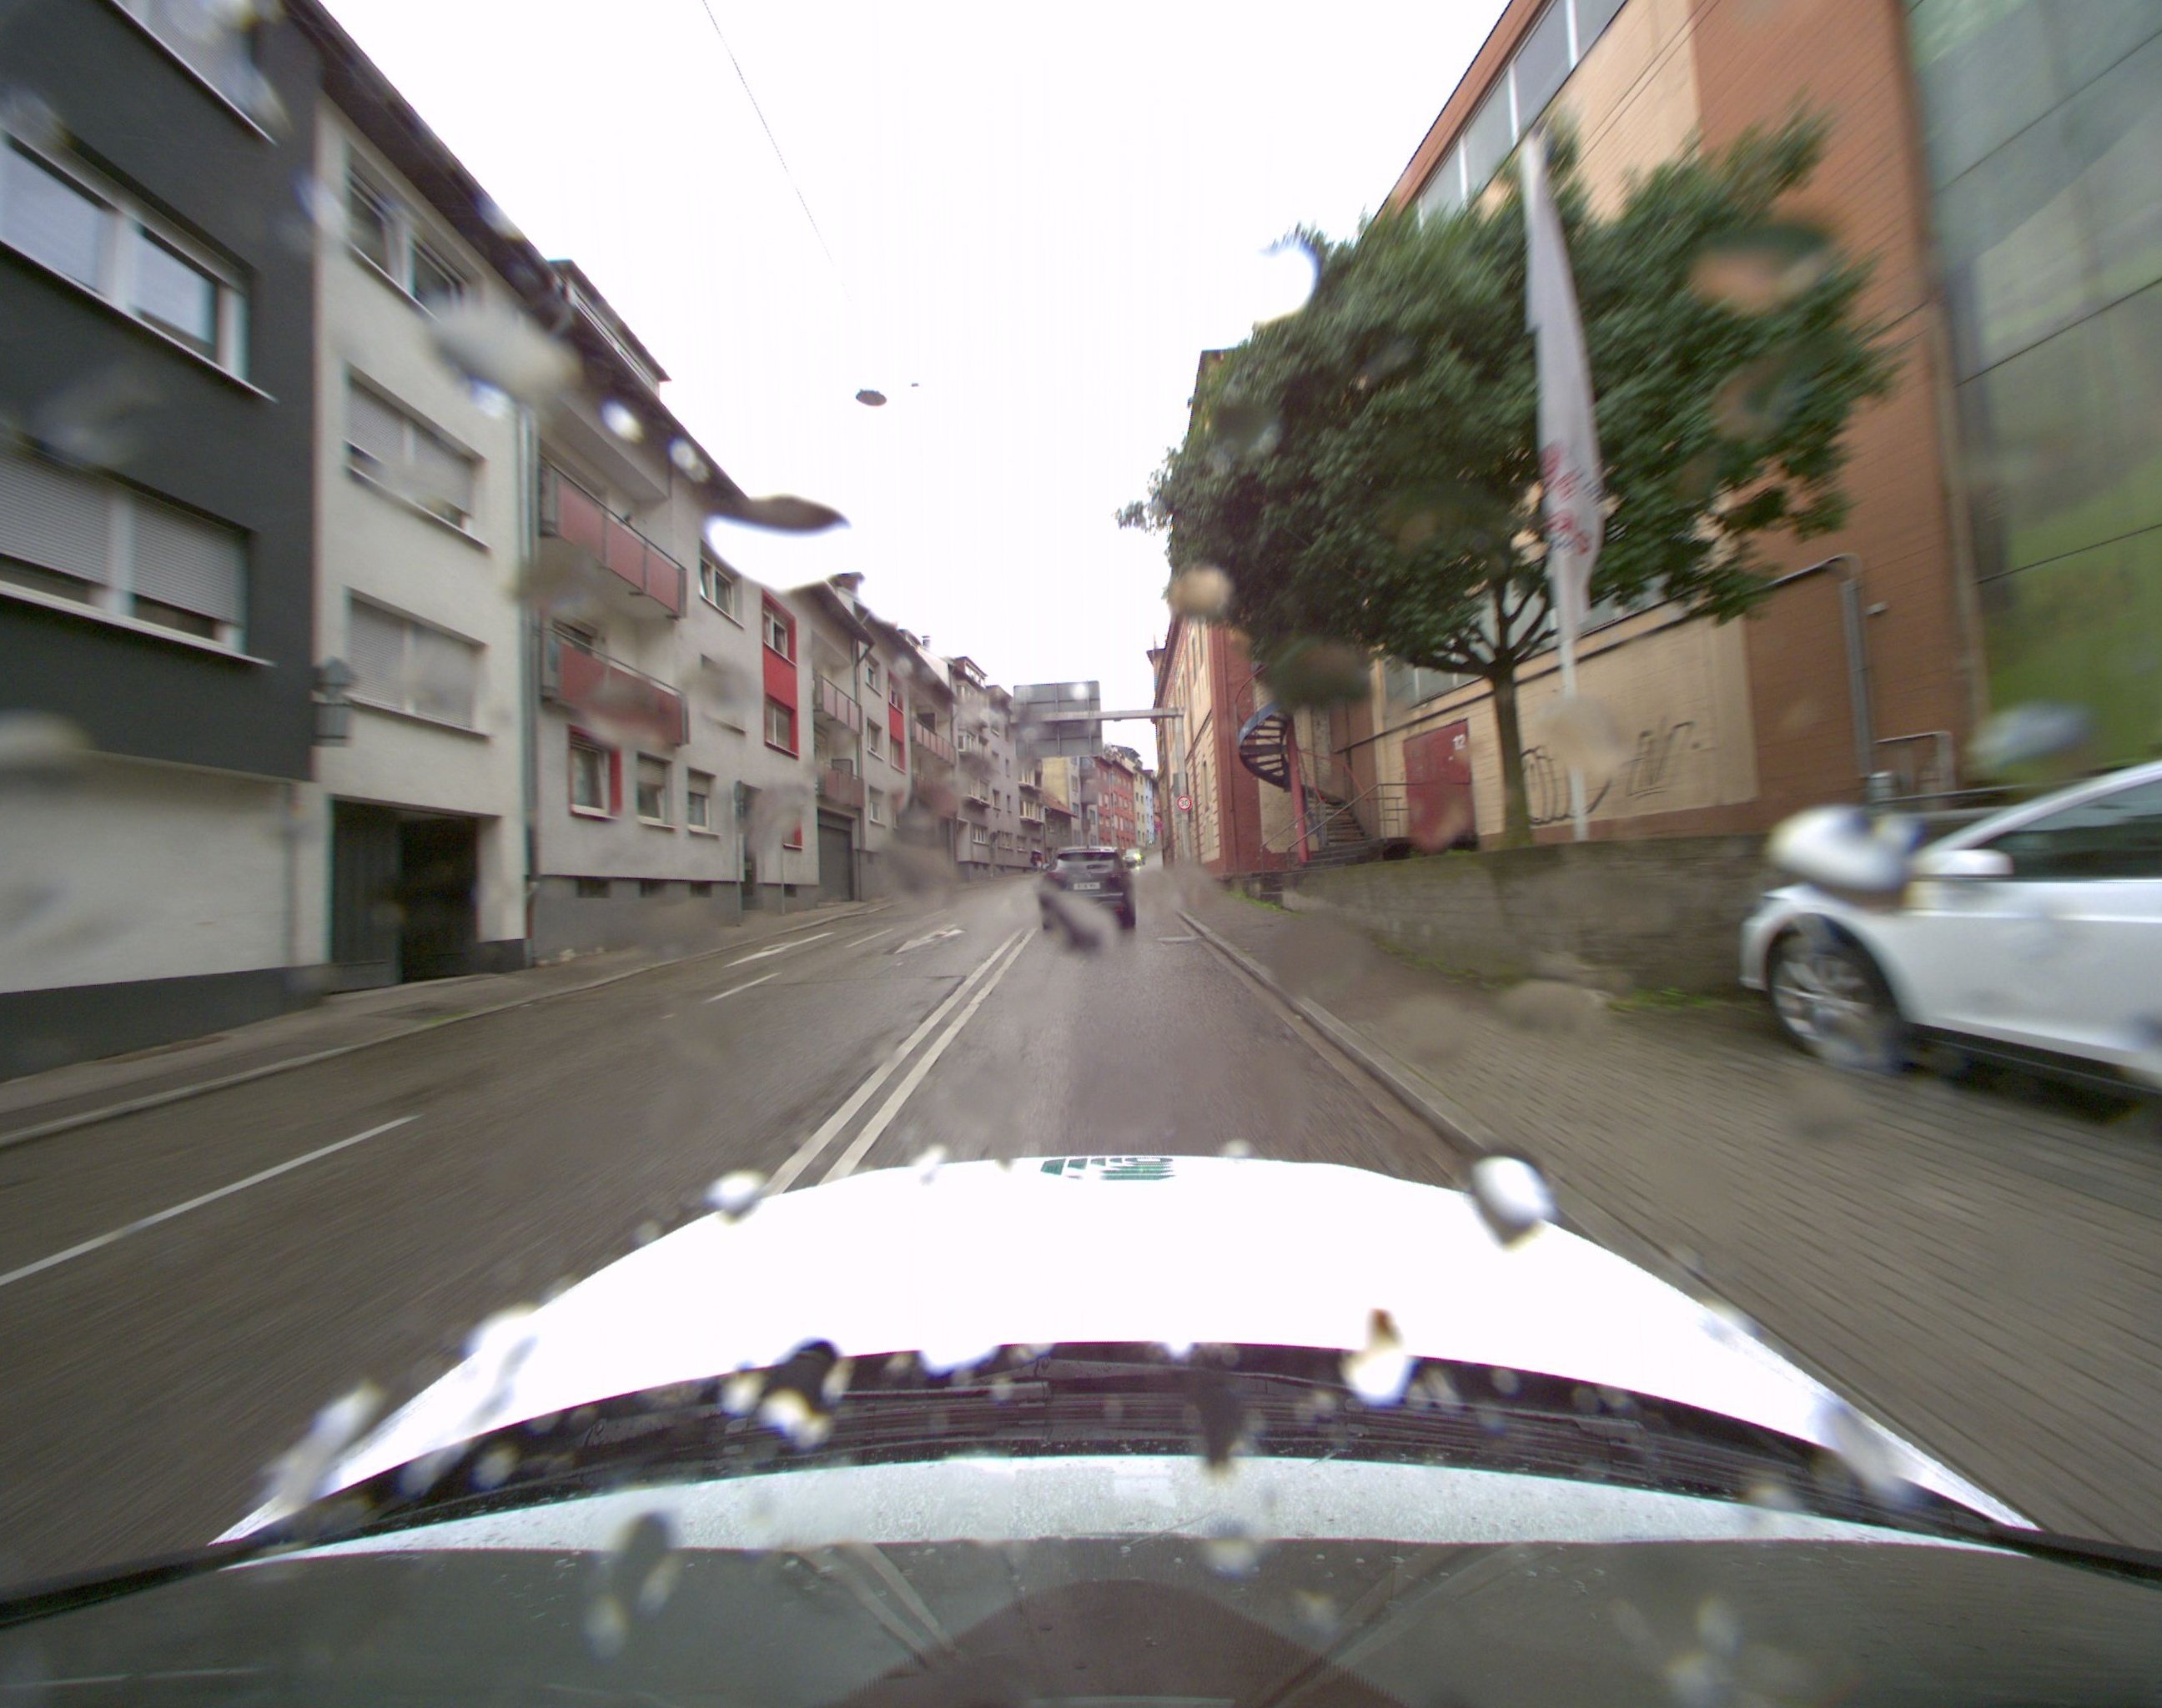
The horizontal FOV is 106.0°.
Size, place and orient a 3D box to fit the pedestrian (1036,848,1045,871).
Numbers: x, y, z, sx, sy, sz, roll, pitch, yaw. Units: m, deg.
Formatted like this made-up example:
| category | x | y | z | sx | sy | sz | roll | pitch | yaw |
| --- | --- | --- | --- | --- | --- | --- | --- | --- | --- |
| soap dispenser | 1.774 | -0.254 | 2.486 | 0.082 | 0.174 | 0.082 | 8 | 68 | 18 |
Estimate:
| category | x | y | z | sx | sy | sz | roll | pitch | yaw |
| --- | --- | --- | --- | --- | --- | --- | --- | --- | --- |
| pedestrian | -3.205 | 0.471 | 64.672 | 0.520 | 1.776 | 0.624 | -4 | 0 | 8 |

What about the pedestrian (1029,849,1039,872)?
| category | x | y | z | sx | sy | sz | roll | pitch | yaw |
| --- | --- | --- | --- | --- | --- | --- | --- | --- | --- |
| pedestrian | -3.741 | 0.508 | 64.733 | 0.520 | 1.776 | 0.624 | -4 | 0 | 8 |

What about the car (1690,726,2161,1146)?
| category | x | y | z | sx | sy | sz | roll | pitch | yaw |
| --- | --- | --- | --- | --- | --- | --- | --- | --- | --- |
| car | 5.056 | 0.266 | 3.070 | 1.846 | 1.617 | 4.916 | -4 | 1 | 1 |

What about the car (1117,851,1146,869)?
| category | x | y | z | sx | sy | sz | roll | pitch | yaw |
| --- | --- | --- | --- | --- | --- | --- | --- | --- | --- |
| car | 4.770 | 0.605 | 76.555 | 1.780 | 1.510 | 4.017 | -4 | -2 | 17 |

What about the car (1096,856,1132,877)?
| category | x | y | z | sx | sy | sz | roll | pitch | yaw |
| --- | --- | --- | --- | --- | --- | --- | --- | --- | --- |
| car | 2.664 | 1.003 | 65.189 | 1.780 | 1.510 | 4.017 | -4 | -2 | 17 |

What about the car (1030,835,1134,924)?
| category | x | y | z | sx | sy | sz | roll | pitch | yaw |
| --- | --- | --- | --- | --- | --- | --- | --- | --- | --- |
| car | -0.008 | 0.502 | 16.992 | 1.876 | 1.594 | 3.919 | -2 | -1 | -1 |
